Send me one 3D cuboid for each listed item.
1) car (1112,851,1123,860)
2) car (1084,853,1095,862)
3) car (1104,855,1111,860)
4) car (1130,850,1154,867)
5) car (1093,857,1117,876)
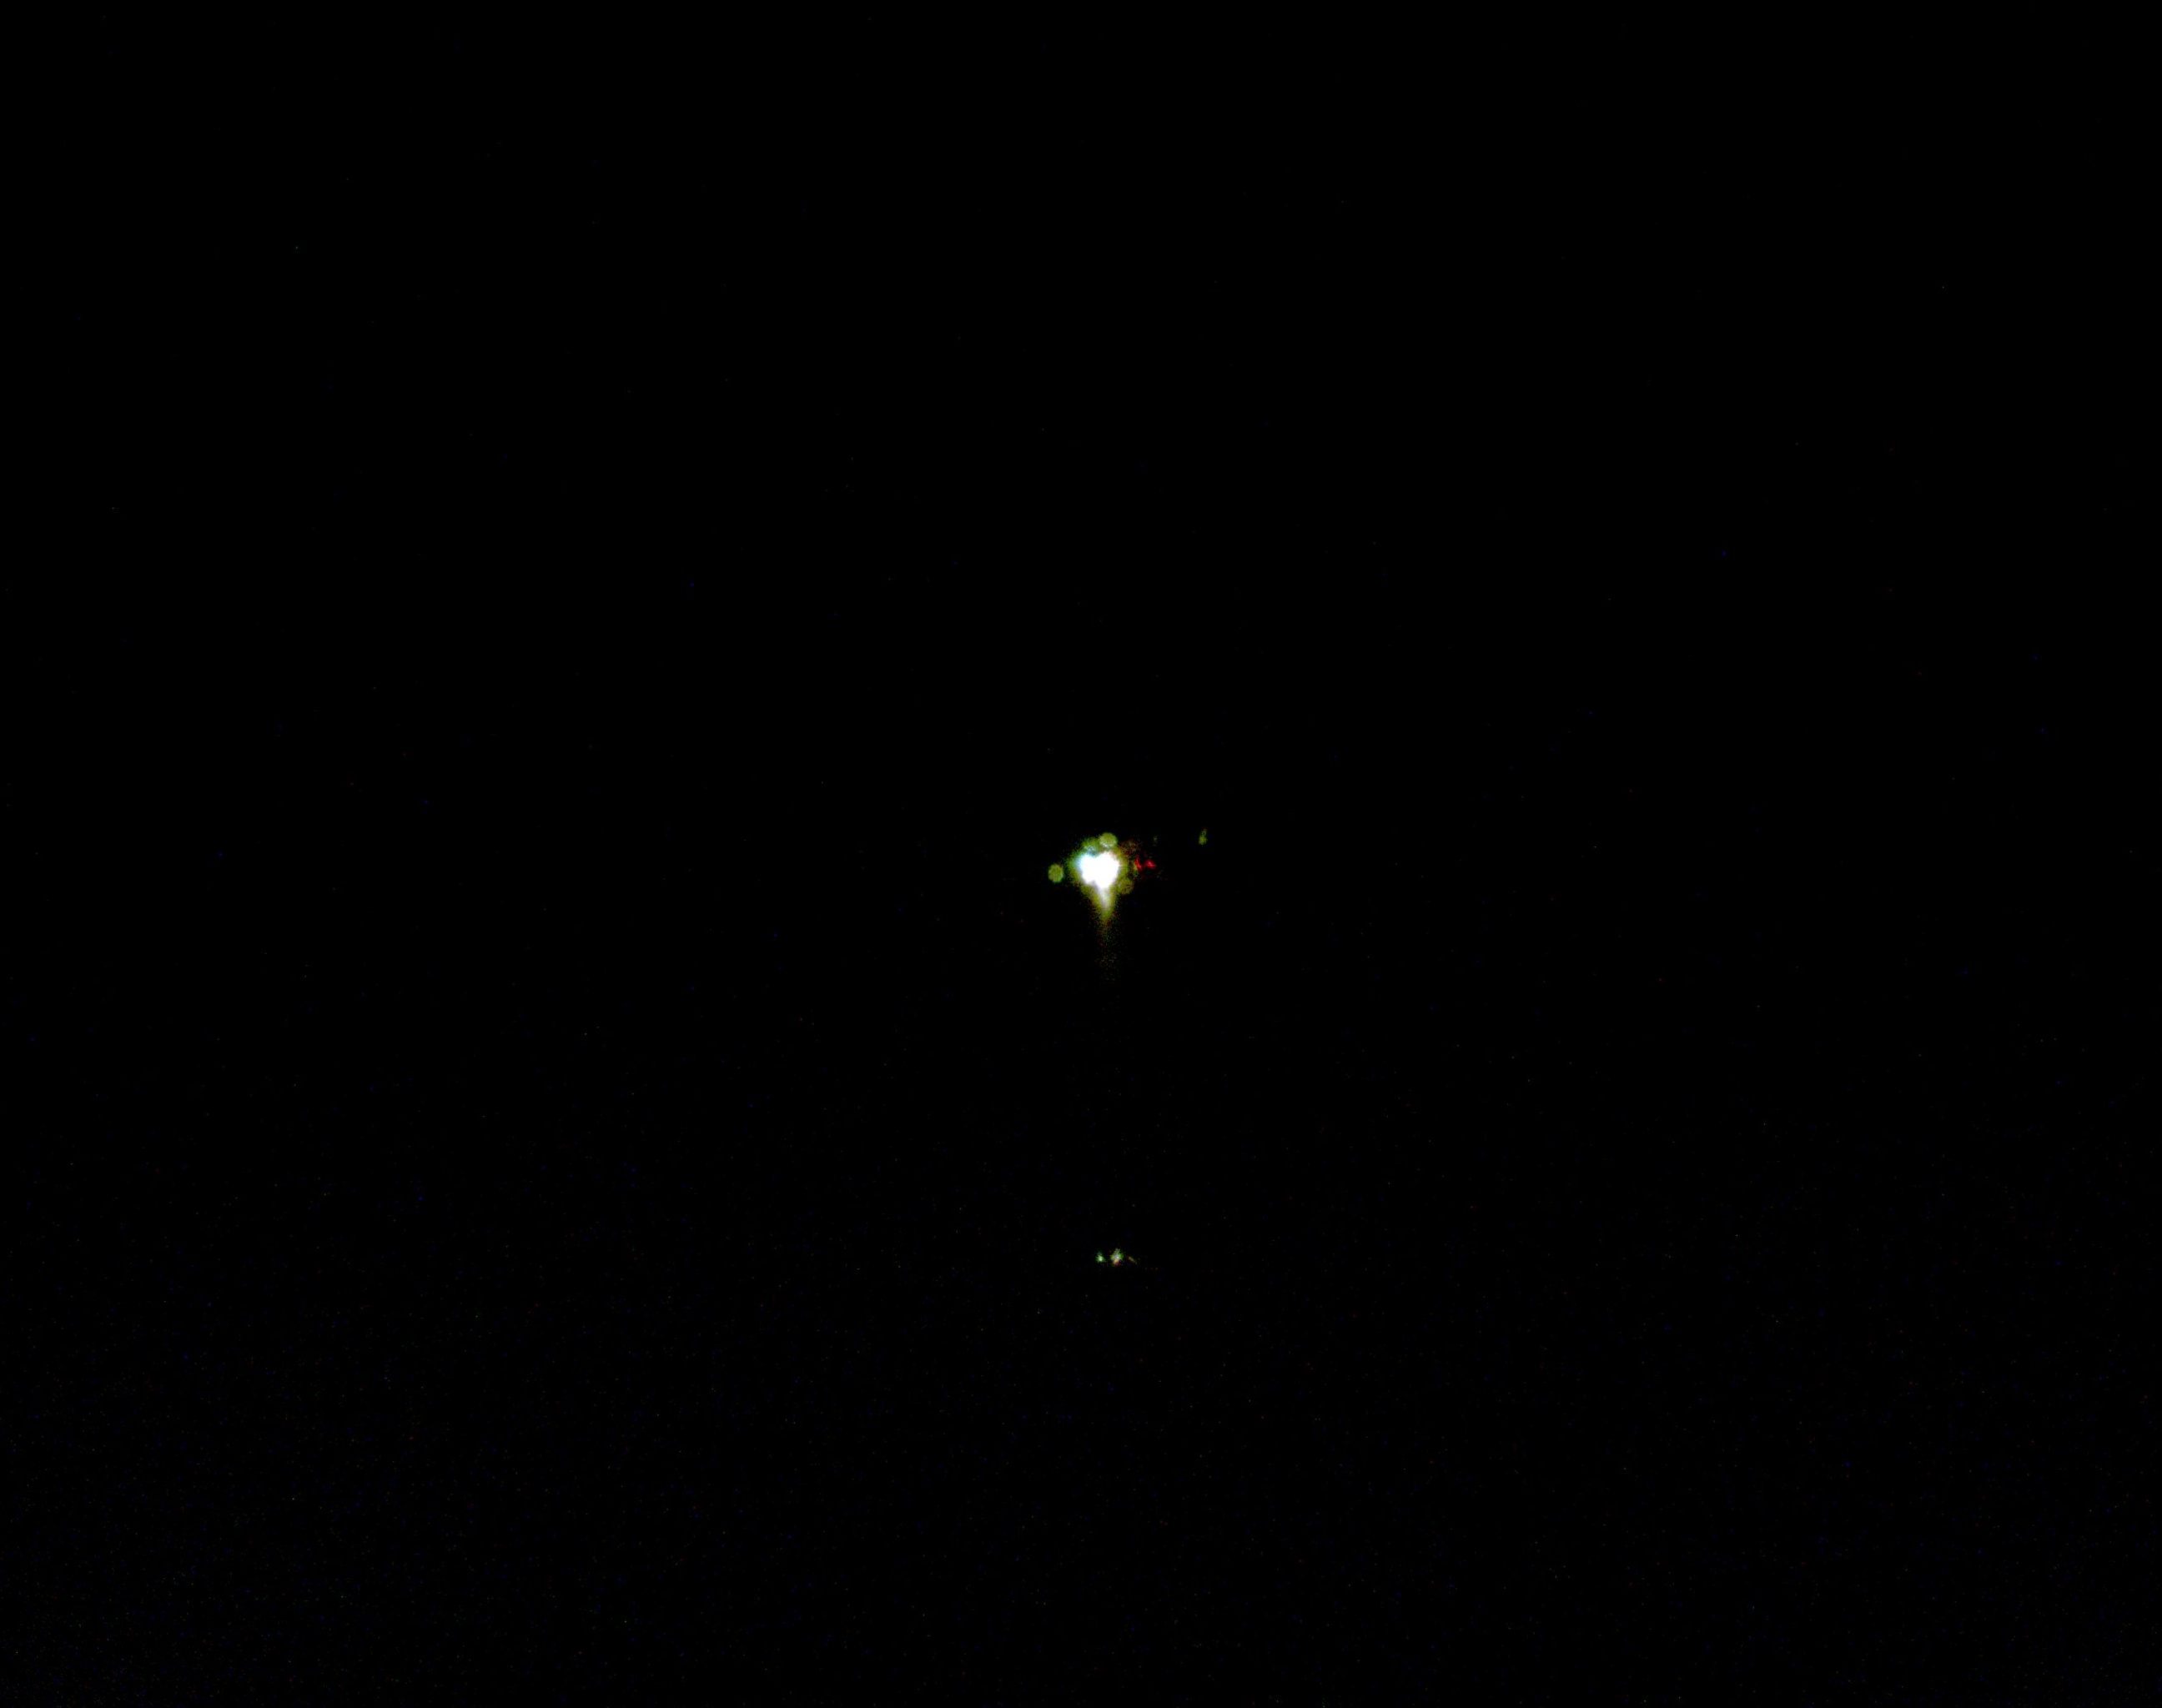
[{"bbox_3d":[7.482,0.272,154.442,1.812,1.612,4.002,-2,0,8],"label":"car"},{"bbox_3d":[1.714,0.676,144.763,1.998,1.575,4.000,-3,0,1],"label":"car"},{"bbox_3d":[7.987,1.027,230.353,1.998,1.489,3.775,-2,0,5],"label":"car"},{"bbox_3d":[5.919,0.394,74.289,1.998,1.567,4.661,-2,0,0],"label":"car"},{"bbox_3d":[2.135,1.082,68.828,1.998,1.575,4.000,-3,0,1],"label":"car"}]
